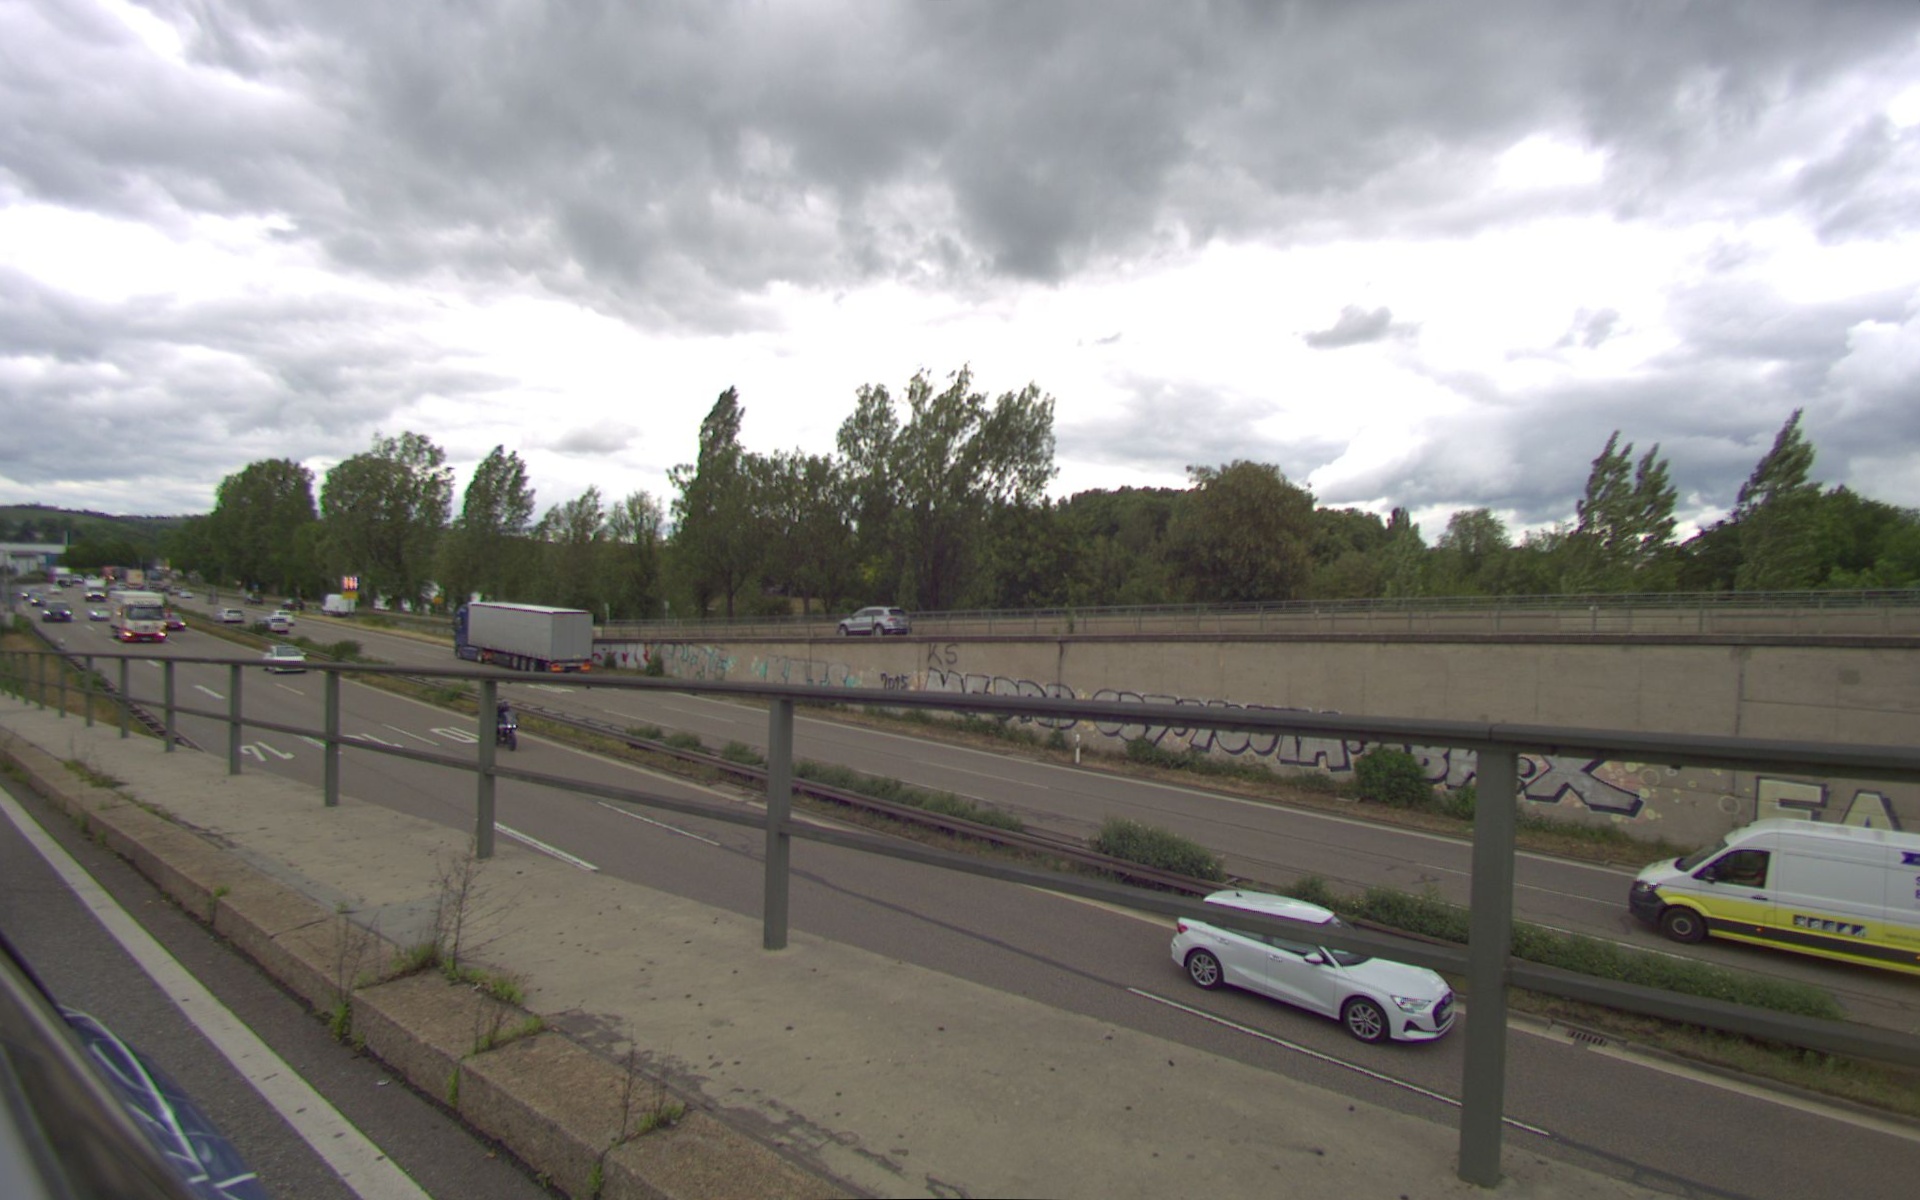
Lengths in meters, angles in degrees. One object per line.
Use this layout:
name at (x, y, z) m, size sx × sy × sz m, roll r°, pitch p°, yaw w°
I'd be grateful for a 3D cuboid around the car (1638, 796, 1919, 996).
car at (16.884, 5.614, 18.942) m, size 6.712 × 2.648 × 1.972 m, roll 2°, pitch -1°, yaw 42°

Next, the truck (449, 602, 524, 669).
truck at (-32.938, 2.379, 70.291) m, size 5.938 × 4.170 × 2.755 m, roll 3°, pitch 1°, yaw 44°

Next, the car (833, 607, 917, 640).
car at (-4.541, 1.233, 53.541) m, size 4.374 × 1.664 × 1.874 m, roll -1°, pitch 0°, yaw 40°

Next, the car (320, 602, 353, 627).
car at (-75.175, 1.728, 121.994) m, size 5.180 × 2.669 × 1.972 m, roll 2°, pitch -3°, yaw 42°

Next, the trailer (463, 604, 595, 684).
trailer at (-28.173, 2.617, 65.595) m, size 13.771 × 4.170 × 2.755 m, roll 3°, pitch 1°, yaw 44°

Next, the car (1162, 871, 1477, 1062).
car at (5.550, 5.607, 16.023) m, size 4.415 × 1.432 × 1.600 m, roll 2°, pitch 0°, yaw 42°

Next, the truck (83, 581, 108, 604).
truck at (-120.086, -1.067, 140.587) m, size 2.207 × 3.031 × 7.239 m, roll 1°, pitch 1°, yaw -43°

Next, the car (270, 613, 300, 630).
car at (-66.517, 2.140, 99.698) m, size 4.002 × 1.431 × 1.660 m, roll 3°, pitch 0°, yaw 44°

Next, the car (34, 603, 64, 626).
car at (-82.800, 1.325, 91.966) m, size 1.970 × 1.853 × 4.430 m, roll 2°, pitch 0°, yaw -43°

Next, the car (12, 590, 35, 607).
car at (-126.211, -0.200, 136.342) m, size 4.001 × 2.029 × 1.971 m, roll 2°, pitch -1°, yaw 43°

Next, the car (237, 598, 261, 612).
car at (-104.786, 0.731, 149.067) m, size 4.562 × 1.831 × 1.861 m, roll 2°, pitch -3°, yaw 42°

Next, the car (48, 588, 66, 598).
car at (-150.872, -1.126, 169.041) m, size 3.335 × 1.539 × 1.746 m, roll 2°, pitch 0°, yaw 41°

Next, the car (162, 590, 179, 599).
car at (-143.345, -1.026, 183.669) m, size 4.002 × 1.431 × 1.971 m, roll 2°, pitch 1°, yaw 44°

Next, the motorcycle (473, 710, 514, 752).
motorcycle at (-17.057, 4.760, 36.956) m, size 2.126 × 1.212 × 0.587 m, roll 2°, pitch 1°, yaw 43°

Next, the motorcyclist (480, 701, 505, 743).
motorcyclist at (-17.073, 4.439, 36.971) m, size 0.762 × 1.382 × 0.587 m, roll 2°, pitch 1°, yaw 42°

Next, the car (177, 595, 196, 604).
car at (-130.703, -0.104, 171.003) m, size 4.002 × 1.431 × 1.971 m, roll 2°, pitch 1°, yaw 44°

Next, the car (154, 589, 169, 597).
car at (-159.386, -1.389, 201.978) m, size 4.002 × 1.431 × 1.971 m, roll 2°, pitch 1°, yaw 44°

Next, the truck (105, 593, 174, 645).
truck at (-62.190, 1.370, 76.581) m, size 9.877 × 3.552 × 2.849 m, roll 2°, pitch -1°, yaw 45°

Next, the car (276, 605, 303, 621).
car at (-89.778, 1.716, 135.451) m, size 4.562 × 1.831 × 1.861 m, roll 2°, pitch -3°, yaw 42°

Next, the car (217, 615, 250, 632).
car at (-71.966, 2.298, 100.205) m, size 4.002 × 1.431 × 1.971 m, roll 2°, pitch -3°, yaw 45°

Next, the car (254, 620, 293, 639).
car at (-59.324, 2.538, 87.439) m, size 4.002 × 1.431 × 1.971 m, roll 2°, pitch -3°, yaw 45°

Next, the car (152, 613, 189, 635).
car at (-67.989, 2.042, 87.142) m, size 4.183 × 1.590 × 1.810 m, roll 3°, pitch 2°, yaw 43°

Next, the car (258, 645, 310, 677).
car at (-39.109, 3.498, 58.502) m, size 3.608 × 1.544 × 1.674 m, roll 2°, pitch 1°, yaw 43°

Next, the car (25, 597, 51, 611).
car at (-109.113, 0.471, 119.802) m, size 4.126 × 1.461 × 1.804 m, roll 2°, pitch 0°, yaw 41°

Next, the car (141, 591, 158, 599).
car at (-148.833, -0.885, 185.770) m, size 4.002 × 1.431 × 1.971 m, roll 2°, pitch 1°, yaw 44°

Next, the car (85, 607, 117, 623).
car at (-82.235, 1.404, 96.875) m, size 4.153 × 1.311 × 1.766 m, roll 2°, pitch 0°, yaw 43°
